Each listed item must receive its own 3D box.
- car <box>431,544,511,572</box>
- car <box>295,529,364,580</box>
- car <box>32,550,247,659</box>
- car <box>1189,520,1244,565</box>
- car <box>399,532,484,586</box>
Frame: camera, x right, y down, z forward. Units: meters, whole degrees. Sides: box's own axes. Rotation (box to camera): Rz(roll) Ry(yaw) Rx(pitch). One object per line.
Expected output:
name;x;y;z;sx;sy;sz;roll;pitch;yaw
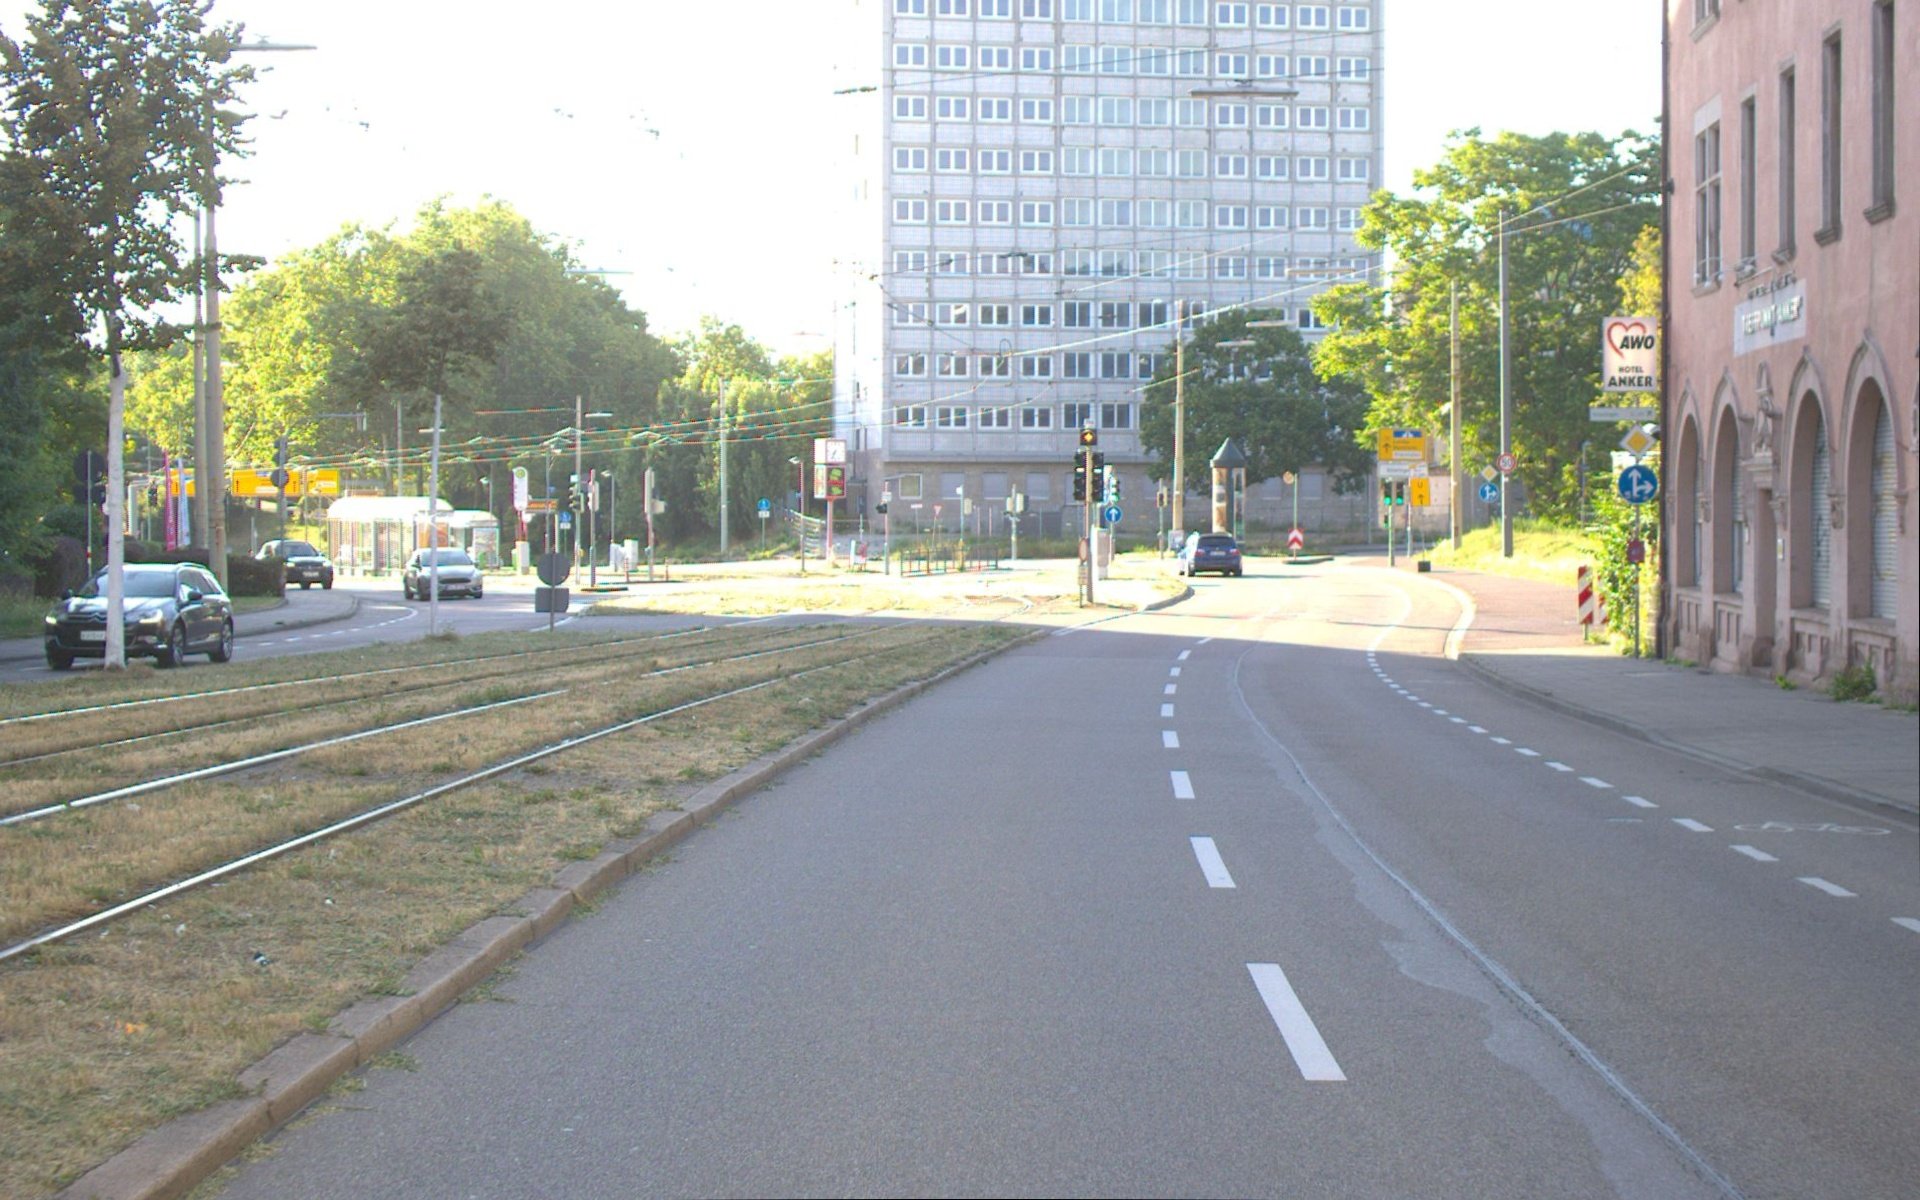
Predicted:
car;-27.167;-2.364;191.043;3.989;1.525;1.999;0;1;14
car;-21.771;-1.582;118.615;1.917;1.656;4.710;-1;2;-15
car;-11.924;0.042;50.256;1.793;1.464;4.796;-2;0;2
car;8.420;-1.896;112.691;1.772;1.417;3.855;0;2;5
car;-14.867;-1.173;98.708;1.697;1.455;4.316;-2;1;1
